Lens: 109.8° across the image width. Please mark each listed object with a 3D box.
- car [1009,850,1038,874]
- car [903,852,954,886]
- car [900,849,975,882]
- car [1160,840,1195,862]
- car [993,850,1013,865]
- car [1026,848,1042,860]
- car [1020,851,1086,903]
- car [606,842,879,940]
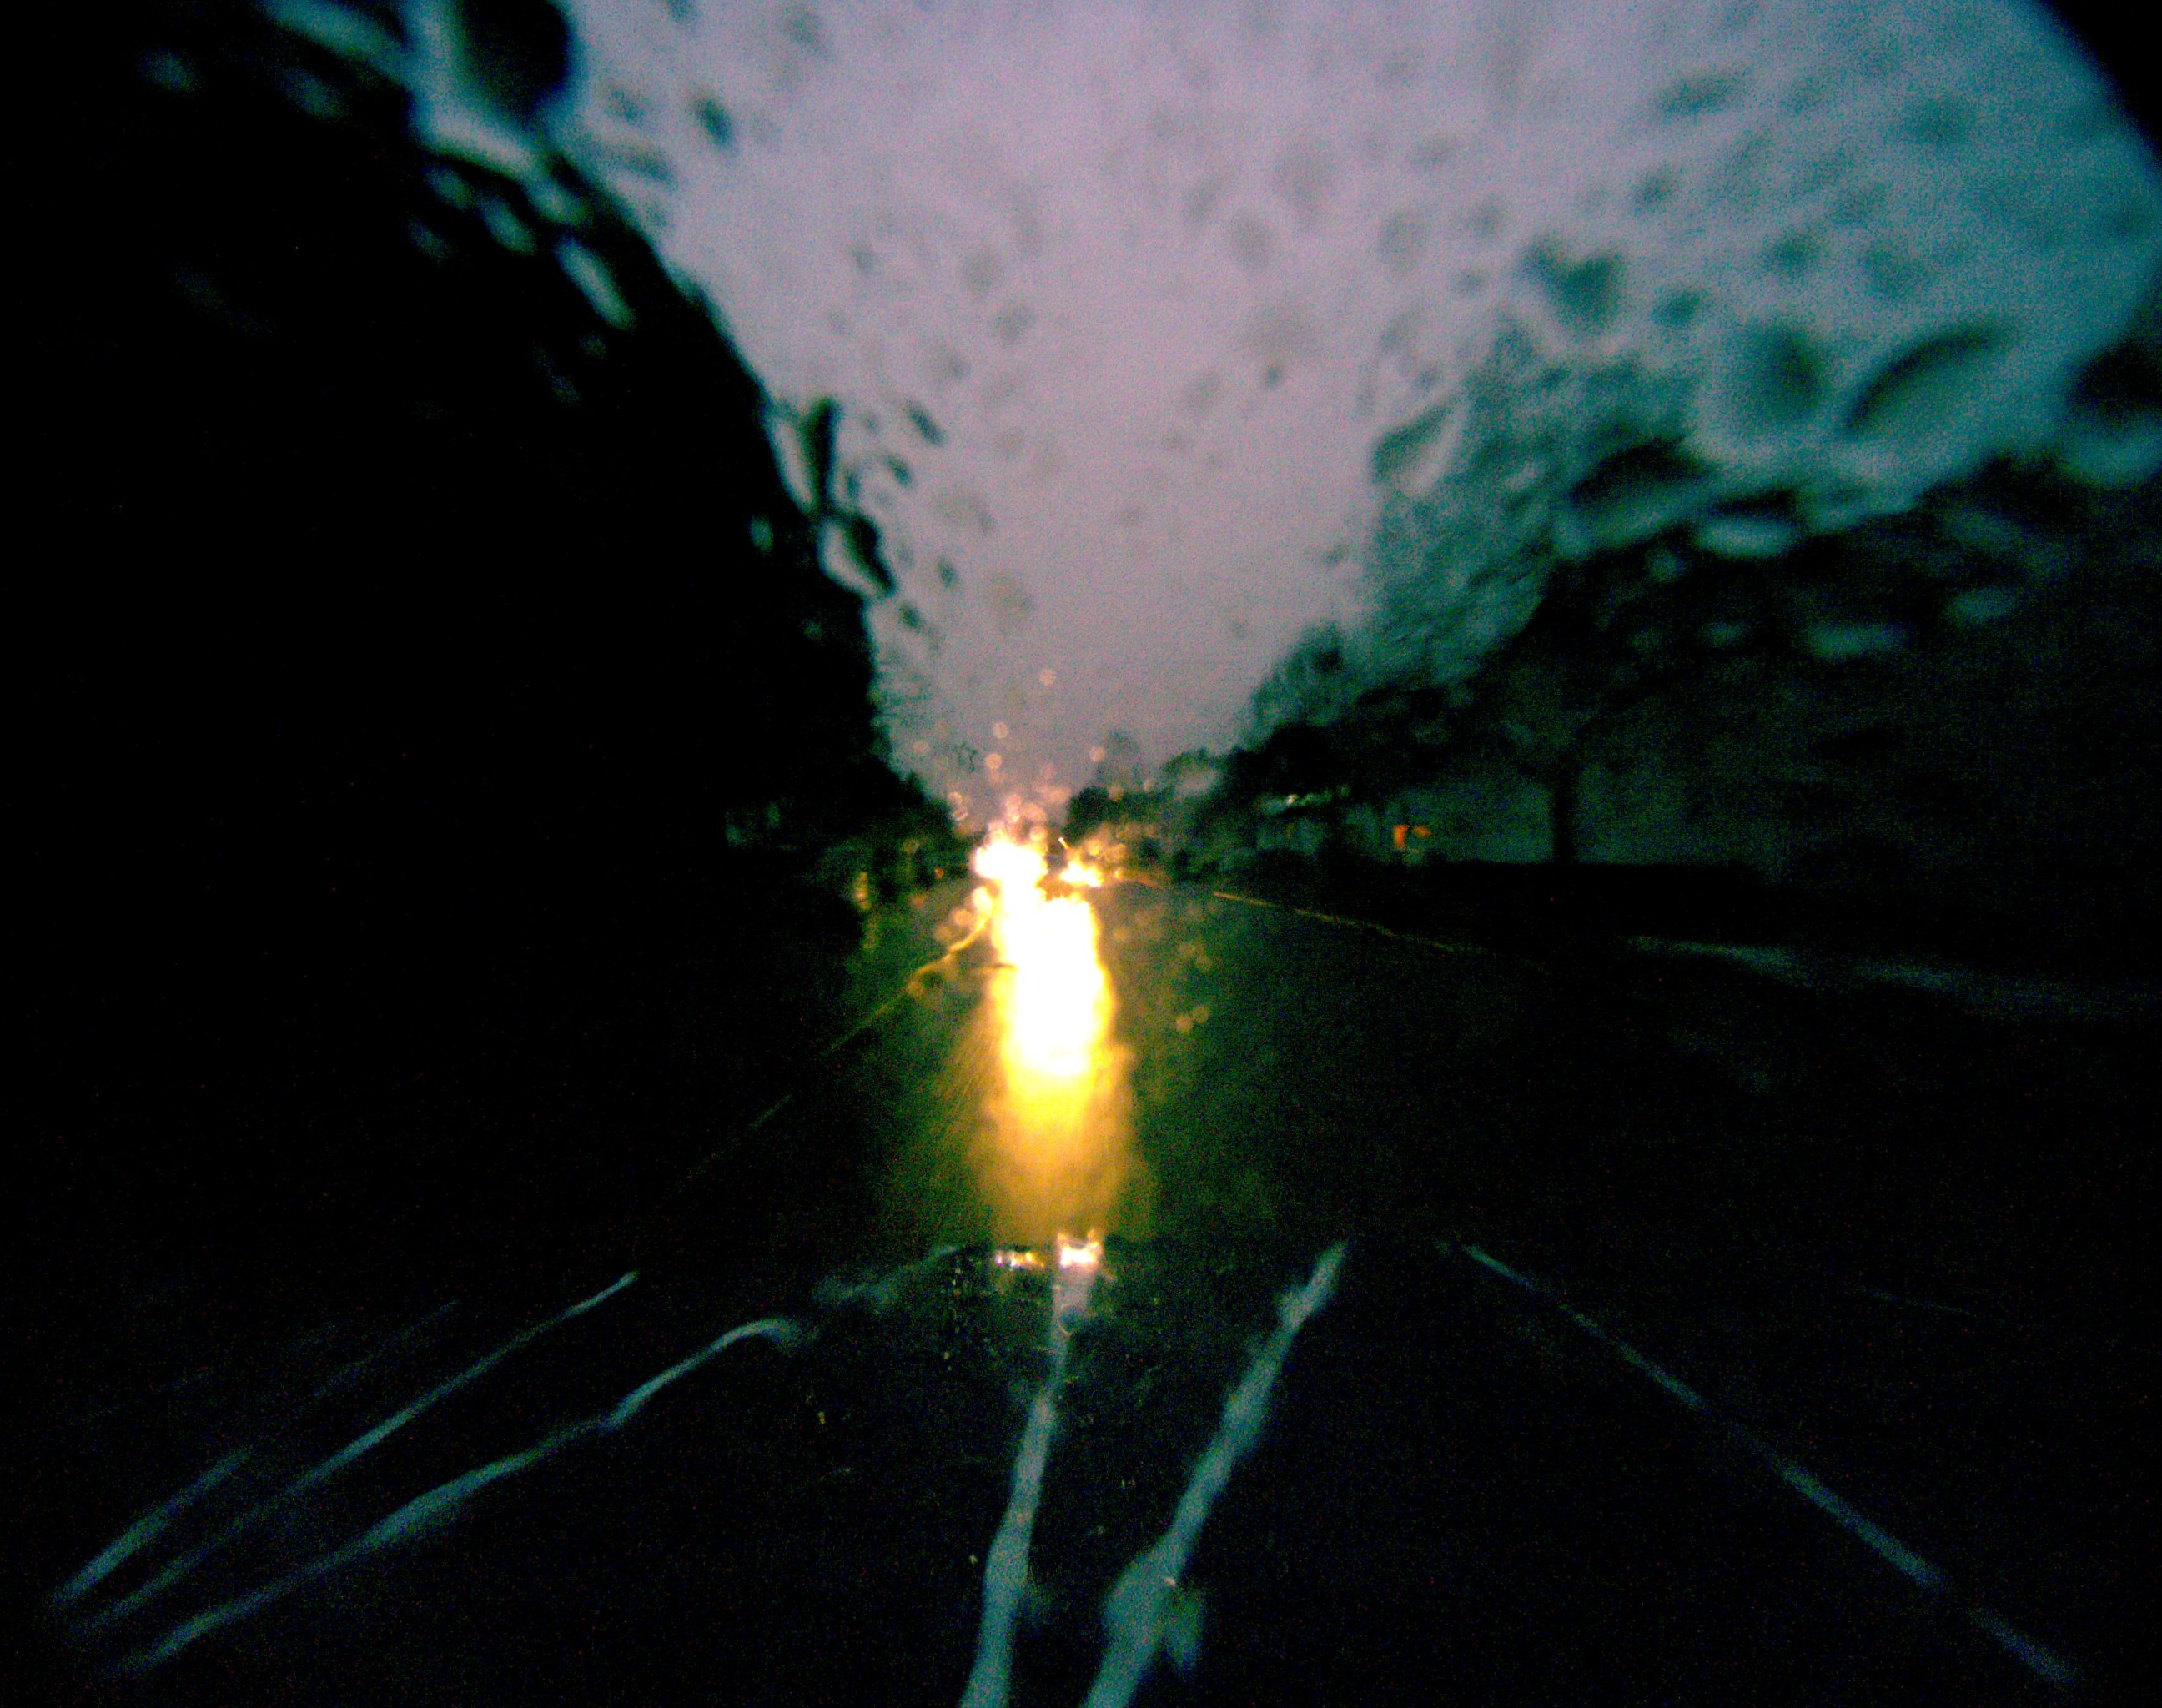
[{"bbox_3d":[-4.344,0.558,57.071,1.999,1.660,3.997,-2,1,-5],"label":"car"},{"bbox_3d":[-7.532,0.689,37.900,1.898,1.545,4.753,-2,1,-4],"label":"car"},{"bbox_3d":[-8.304,0.639,44.204,4.115,1.696,1.998,-2,2,-7],"label":"car"},{"bbox_3d":[8.055,-0.275,63.849,1.999,1.746,4.565,-1,1,-6],"label":"car"},{"bbox_3d":[-8.892,0.353,86.245,1.777,1.609,3.868,-3,1,-12],"label":"car"},{"bbox_3d":[-6.524,-0.004,105.047,1.820,1.623,4.221,0,1,-7],"label":"car"},{"bbox_3d":[-1.035,0.707,25.465,1.999,1.575,3.998,-1,0,-5],"label":"car"},{"bbox_3d":[-6.245,0.667,14.501,4.336,1.722,1.999,1,1,-6],"label":"car"}]
